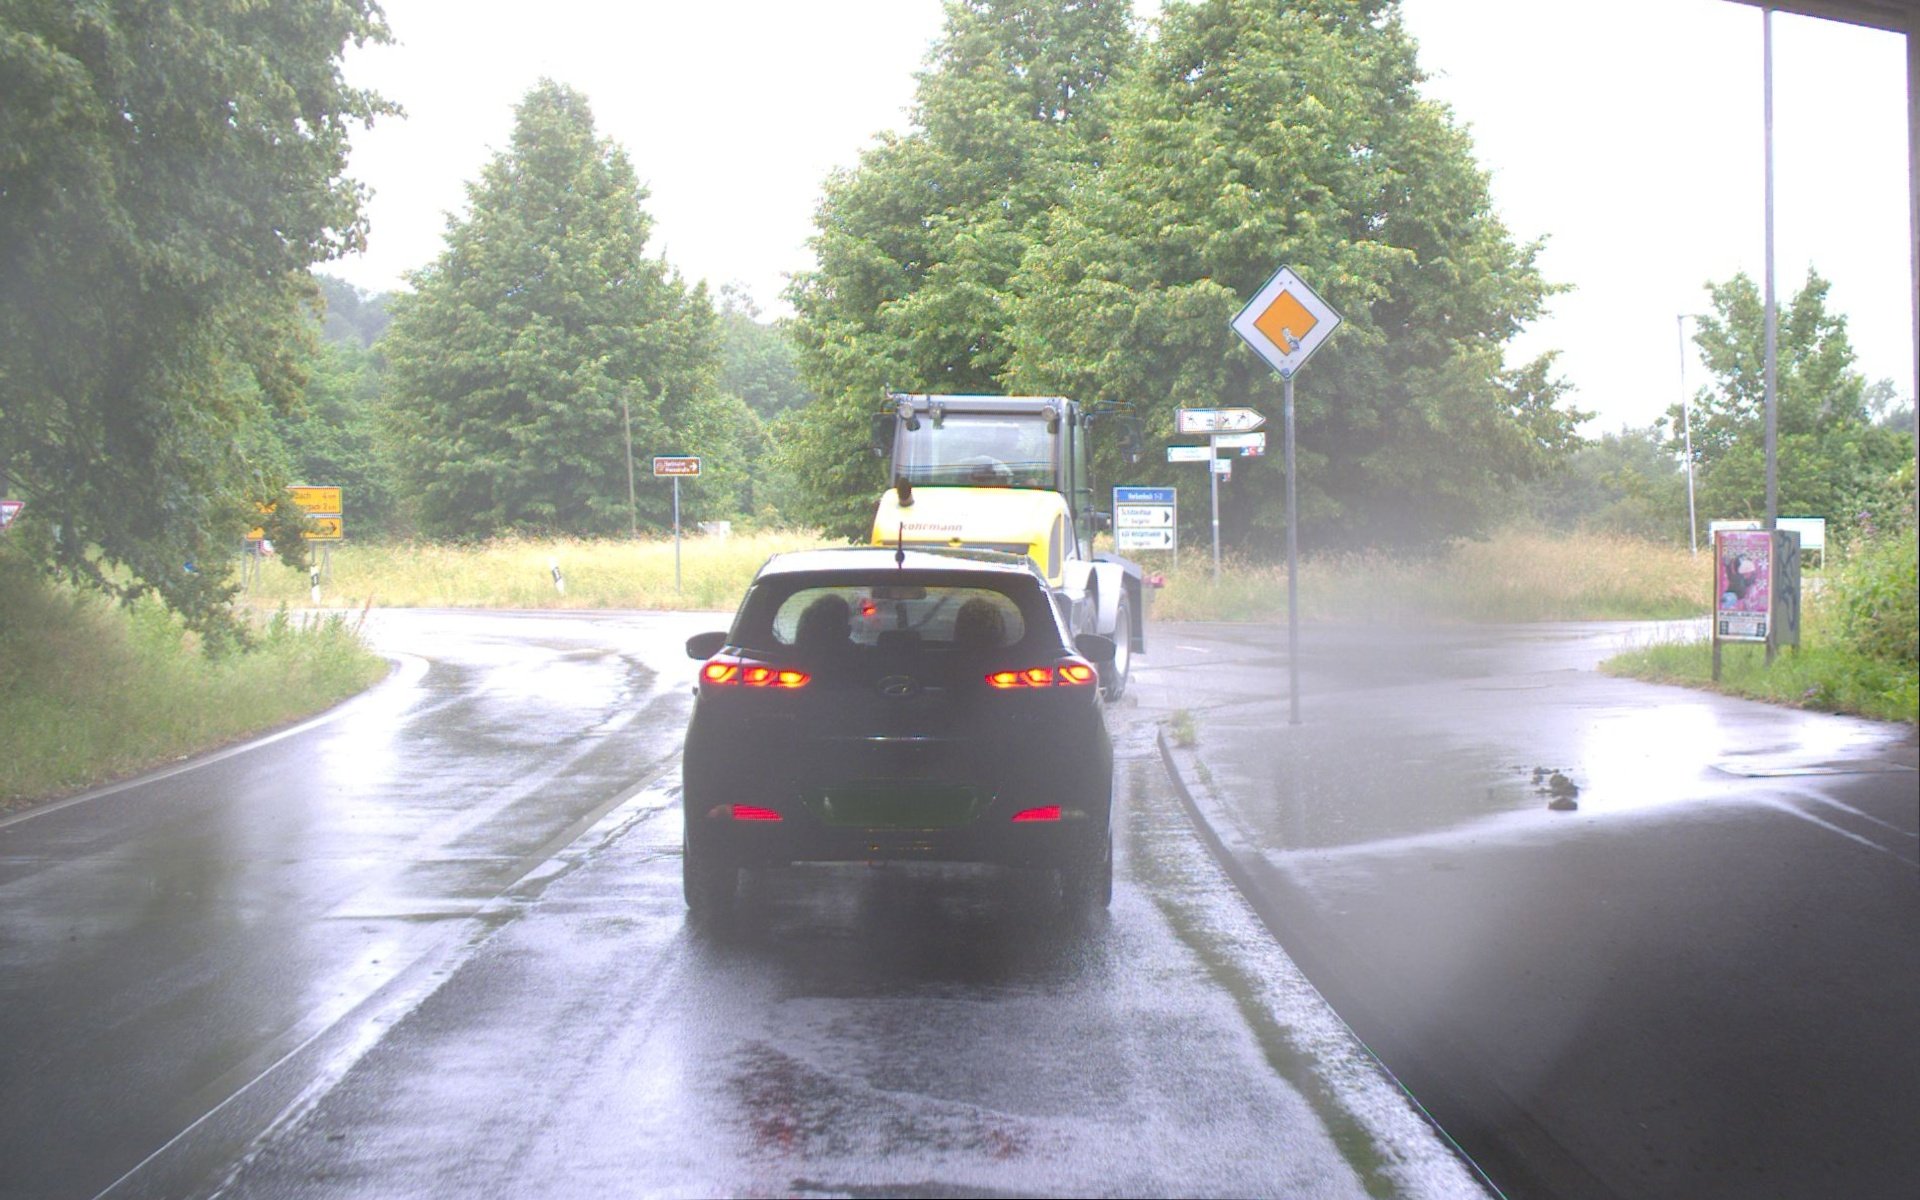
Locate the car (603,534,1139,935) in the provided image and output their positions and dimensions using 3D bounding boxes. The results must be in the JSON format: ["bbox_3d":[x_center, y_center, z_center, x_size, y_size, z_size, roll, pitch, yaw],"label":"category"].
[{"bbox_3d":[-0.479,0.474,14.940,1.993,1.482,4.001,1,1,-4],"label":"car"}]

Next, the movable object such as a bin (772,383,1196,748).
[{"bbox_3d":[0.384,-0.309,28.699,2.247,2.660,6.623,1,1,12],"label":"movable object such as a bin"}]
